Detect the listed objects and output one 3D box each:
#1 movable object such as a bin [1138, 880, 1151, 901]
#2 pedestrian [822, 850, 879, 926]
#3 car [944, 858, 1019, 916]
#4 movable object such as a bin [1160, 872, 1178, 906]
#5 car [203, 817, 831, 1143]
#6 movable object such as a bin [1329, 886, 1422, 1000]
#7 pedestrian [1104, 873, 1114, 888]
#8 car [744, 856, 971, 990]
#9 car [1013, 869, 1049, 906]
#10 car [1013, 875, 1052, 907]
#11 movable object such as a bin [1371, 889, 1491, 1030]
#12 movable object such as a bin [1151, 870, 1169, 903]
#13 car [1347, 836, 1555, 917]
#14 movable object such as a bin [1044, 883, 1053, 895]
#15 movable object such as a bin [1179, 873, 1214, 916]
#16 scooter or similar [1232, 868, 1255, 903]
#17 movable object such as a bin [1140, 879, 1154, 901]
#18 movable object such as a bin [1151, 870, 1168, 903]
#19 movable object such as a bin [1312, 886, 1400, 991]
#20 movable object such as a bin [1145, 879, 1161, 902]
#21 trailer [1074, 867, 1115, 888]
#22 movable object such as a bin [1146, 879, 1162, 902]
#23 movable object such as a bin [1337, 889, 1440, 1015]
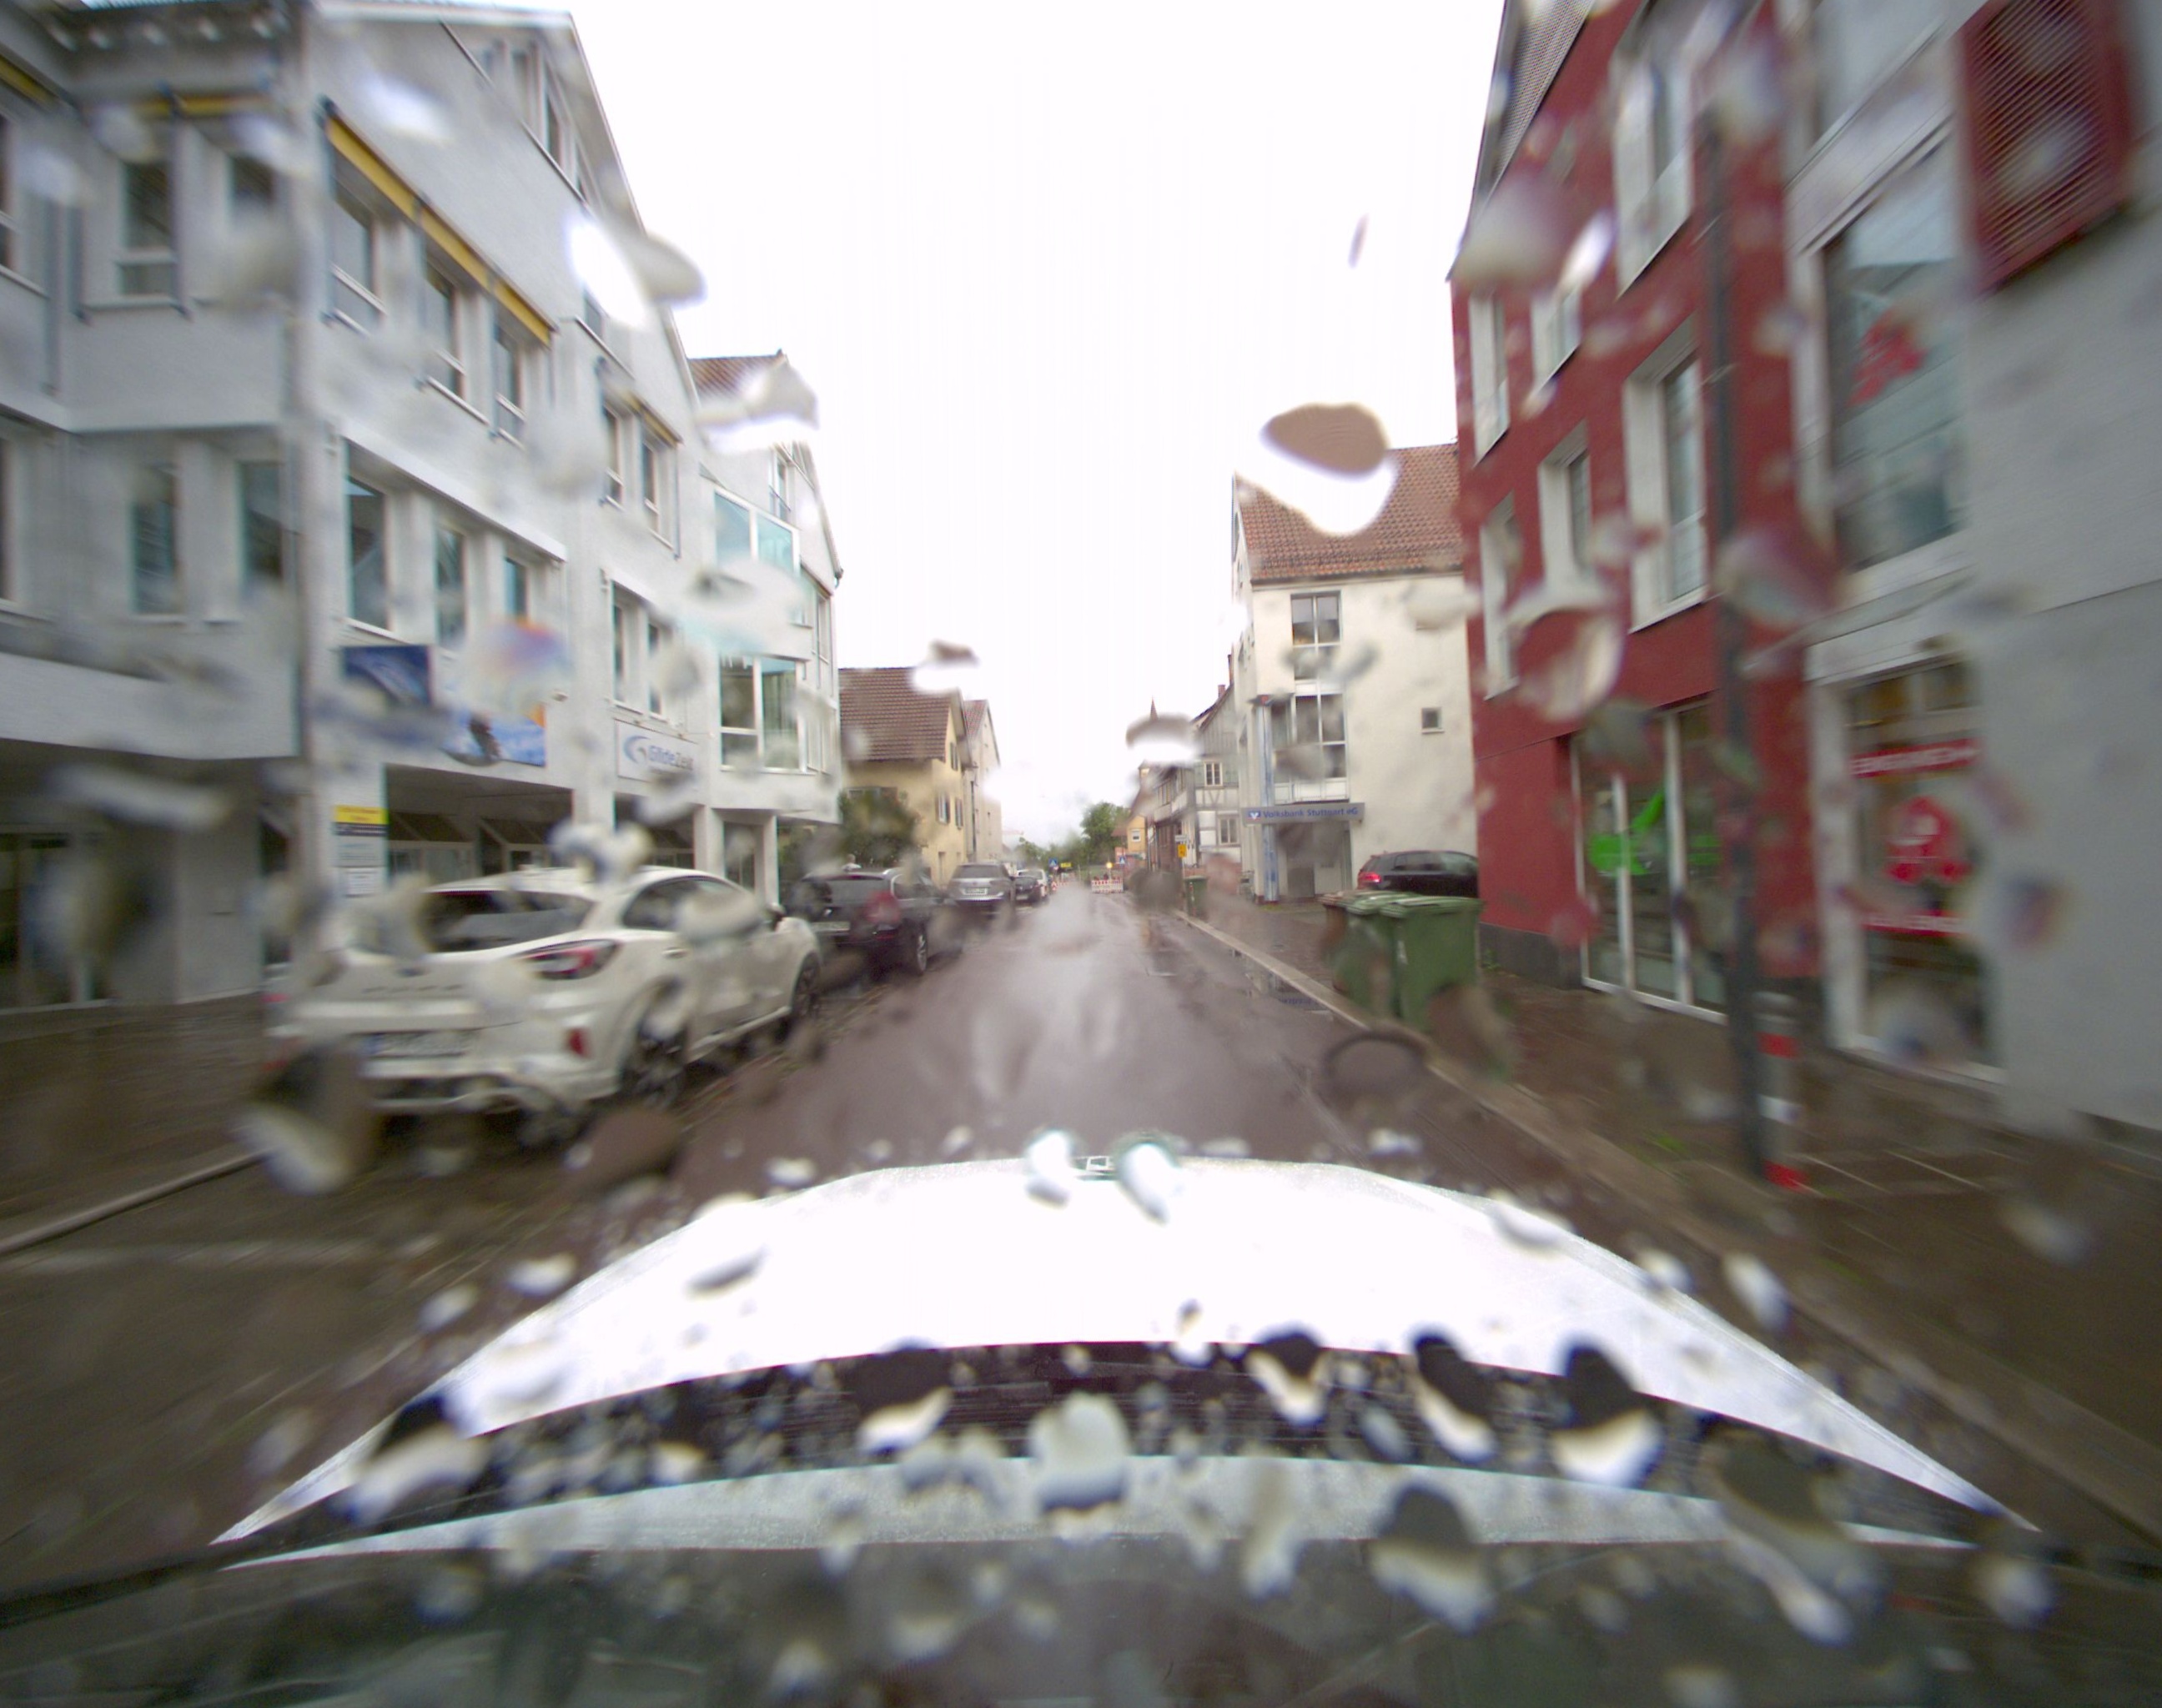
[{"bbox_3d":[3.518,2.011,45.168,0.607,1.128,0.599,-2,-3,0],"label":"movable object such as a bin"},{"bbox_3d":[-5.694,0.825,20.194,1.031,1.806,1.116,-1,-1,1],"label":"pedestrian"},{"bbox_3d":[-2.946,1.015,24.929,1.774,1.569,4.405,-2,-3,-1],"label":"car"},{"bbox_3d":[3.394,1.342,31.443,0.635,1.290,0.633,-2,-3,5],"label":"movable object such as a bin"},{"bbox_3d":[-3.382,0.700,6.013,1.785,1.551,3.999,-1,-3,0],"label":"car"},{"bbox_3d":[2.991,0.887,8.325,0.707,1.094,0.614,-2,-2,2],"label":"movable object such as a bin"},{"bbox_3d":[3.348,3.130,96.944,0.988,1.759,0.850,-2,-3,-6],"label":"pedestrian"},{"bbox_3d":[-2.988,0.856,12.093,1.823,1.499,4.765,-3,-1,2],"label":"car"},{"bbox_3d":[-2.631,1.792,43.629,1.719,1.825,4.424,-2,-3,-1],"label":"car"},{"bbox_3d":[-2.238,1.722,37.997,1.677,1.389,3.821,-2,-3,-3],"label":"car"},{"bbox_3d":[2.916,0.857,6.849,0.673,1.086,0.718,-2,-2,2],"label":"movable object such as a bin"},{"bbox_3d":[3.121,1.279,32.236,0.635,1.290,0.633,-2,-3,5],"label":"movable object such as a bin"},{"bbox_3d":[8.390,0.546,18.846,3.961,1.515,1.917,-4,-3,11],"label":"car"},{"bbox_3d":[-2.958,3.161,74.279,0.538,1.033,0.538,-7,-5,33],"label":"movable object such as a bin"},{"bbox_3d":[3.177,1.110,22.558,0.801,1.131,0.862,-2,-3,-1],"label":"movable object such as a bin"},{"bbox_3d":[5.521,1.082,27.736,0.661,1.146,1.449,-2,-3,8],"label":"scooter or similar"},{"bbox_3d":[3.425,1.868,42.179,0.635,1.147,0.604,-2,-3,5],"label":"movable object such as a bin"},{"bbox_3d":[3.189,1.308,32.921,0.635,1.290,0.633,-2,-3,5],"label":"movable object such as a bin"},{"bbox_3d":[3.013,0.910,8.972,0.726,1.081,0.647,-2,-2,2],"label":"movable object such as a bin"},{"bbox_3d":[3.626,1.837,40.836,0.667,1.081,0.587,-3,-3,-1],"label":"movable object such as a bin"},{"bbox_3d":[1.991,3.517,121.331,5.771,2.948,1.996,-2,-3,-5],"label":"trailer"},{"bbox_3d":[3.561,1.756,39.645,0.676,1.097,0.649,-1,-2,-3],"label":"movable object such as a bin"},{"bbox_3d":[2.839,0.884,7.591,0.673,1.084,0.698,-2,-2,2],"label":"movable object such as a bin"}]
